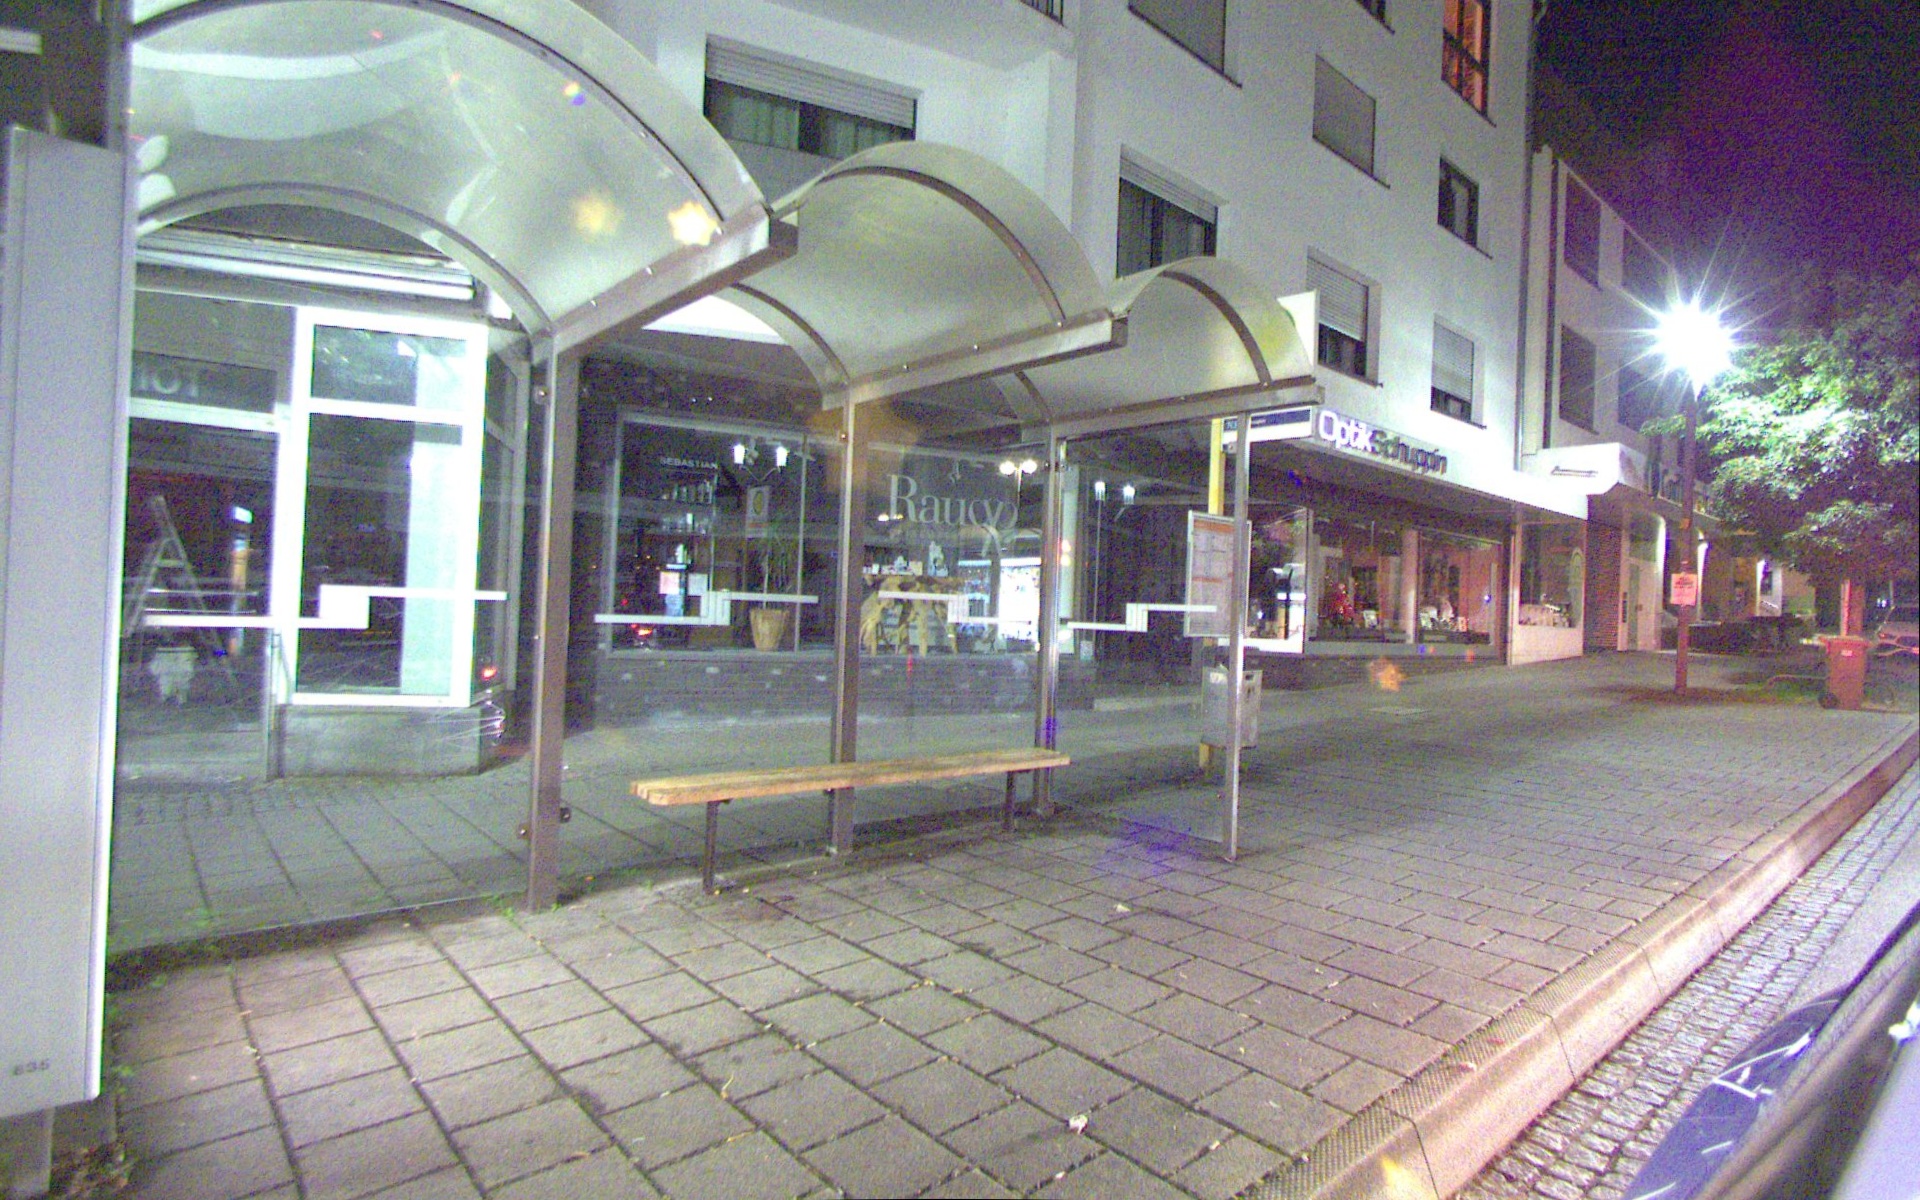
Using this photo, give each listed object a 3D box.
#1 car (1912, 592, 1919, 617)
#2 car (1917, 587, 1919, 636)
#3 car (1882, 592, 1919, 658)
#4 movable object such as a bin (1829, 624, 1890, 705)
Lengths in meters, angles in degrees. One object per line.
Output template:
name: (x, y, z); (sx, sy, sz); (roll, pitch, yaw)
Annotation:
car: (59.704, 0.244, 62.270); (1.638, 1.485, 3.717); (-1, 0, 43)
car: (35.203, 0.417, 35.824); (1.788, 1.661, 4.309); (4, 3, 44)
car: (23.736, 0.577, 24.464); (4.519, 1.459, 1.859); (-1, 3, -45)
movable object such as a bin: (11.348, 0.799, 12.779); (0.523, 0.949, 0.621); (0, 1, 38)
